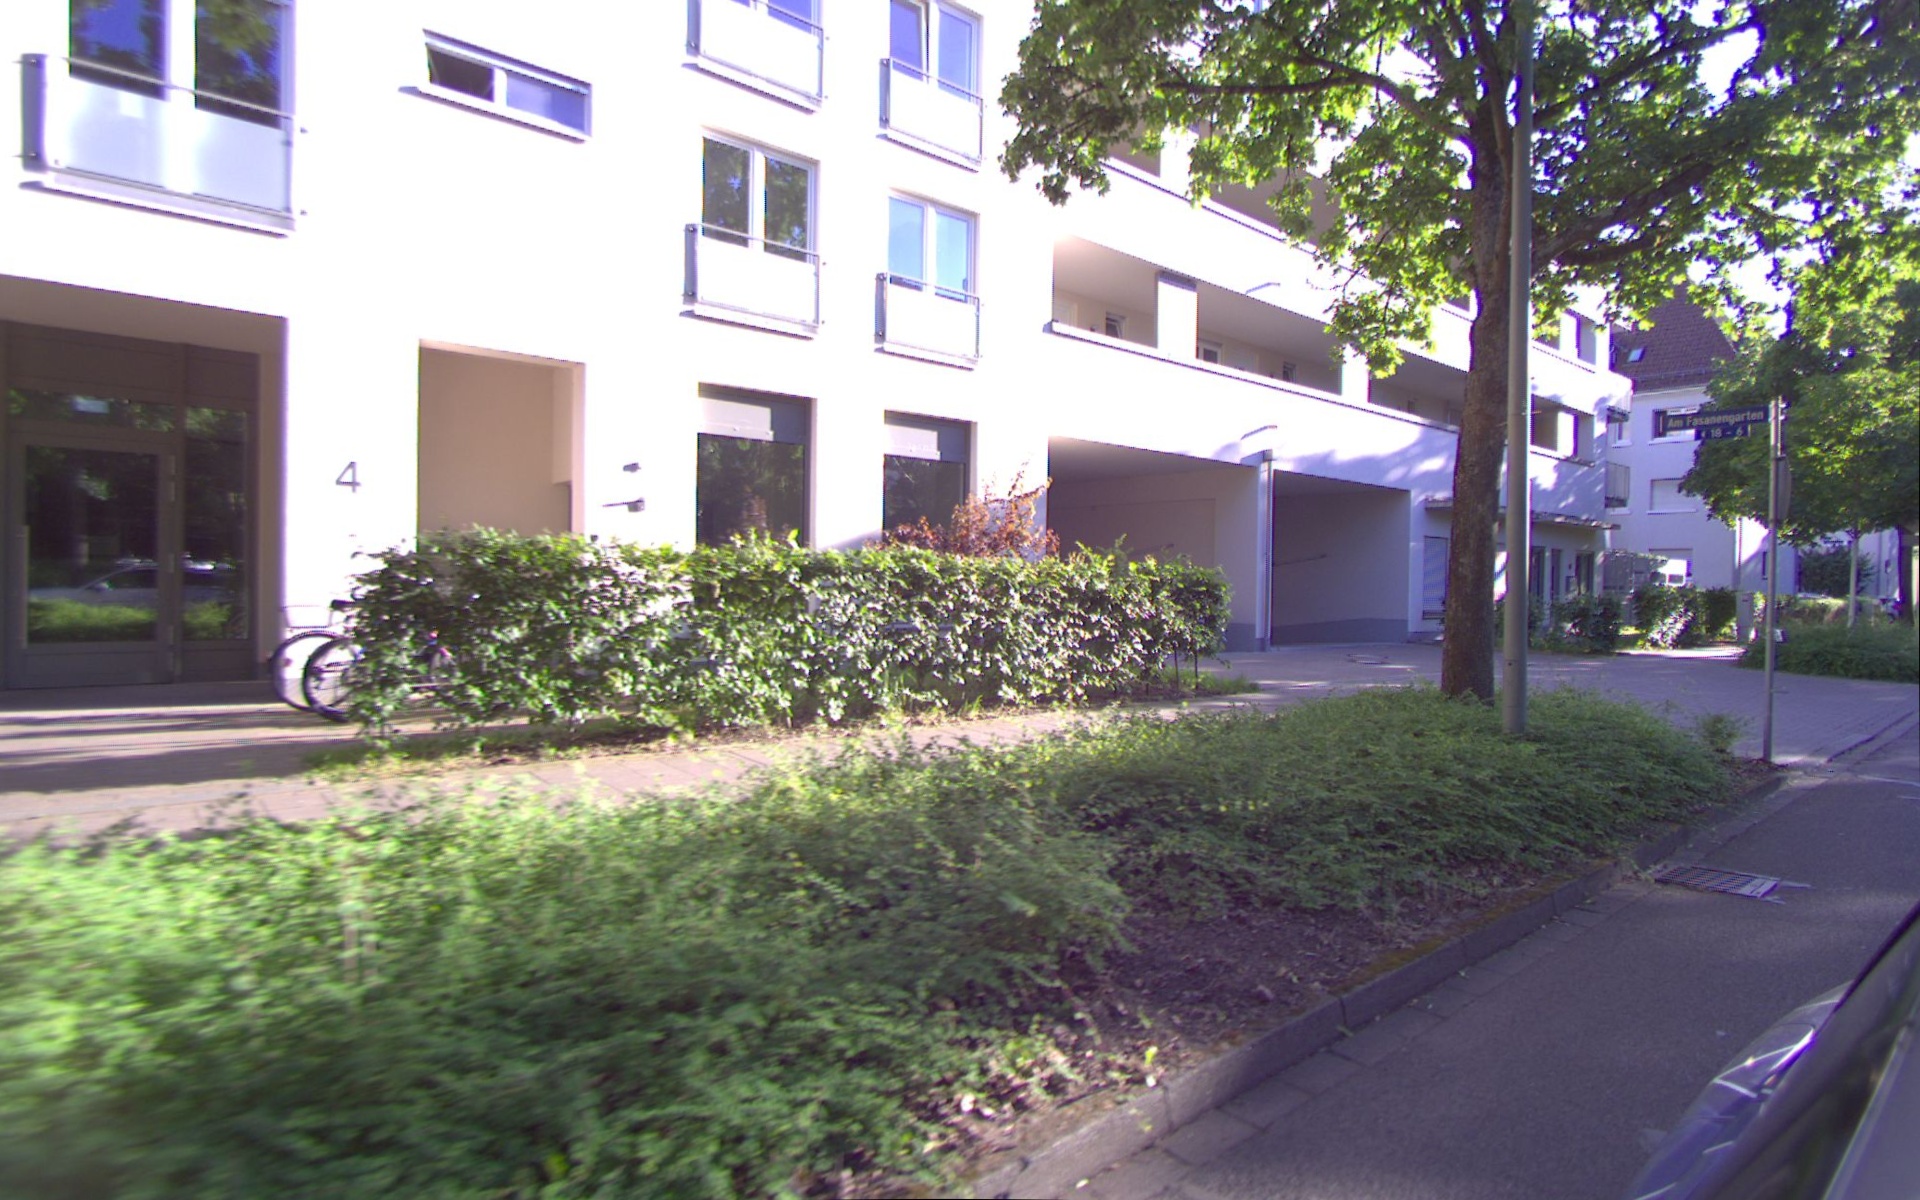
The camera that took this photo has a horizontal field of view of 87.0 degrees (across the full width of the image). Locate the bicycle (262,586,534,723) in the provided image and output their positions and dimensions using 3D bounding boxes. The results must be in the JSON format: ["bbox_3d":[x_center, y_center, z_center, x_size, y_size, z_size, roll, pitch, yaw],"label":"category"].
[{"bbox_3d":[-4.933,0.431,9.006,2.075,1.101,0.419,-1,0,-41],"label":"bicycle"}]

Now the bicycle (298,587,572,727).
[{"bbox_3d":[-4.485,0.437,8.783,2.075,1.101,0.419,-1,0,-41],"label":"bicycle"}]

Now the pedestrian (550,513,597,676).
[{"bbox_3d":[-4.617,-0.064,12.089,0.476,1.897,0.378,0,0,-29],"label":"pedestrian"}]

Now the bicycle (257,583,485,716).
[{"bbox_3d":[-5.338,0.406,9.247,1.756,1.125,0.419,-1,0,-41],"label":"bicycle"}]
